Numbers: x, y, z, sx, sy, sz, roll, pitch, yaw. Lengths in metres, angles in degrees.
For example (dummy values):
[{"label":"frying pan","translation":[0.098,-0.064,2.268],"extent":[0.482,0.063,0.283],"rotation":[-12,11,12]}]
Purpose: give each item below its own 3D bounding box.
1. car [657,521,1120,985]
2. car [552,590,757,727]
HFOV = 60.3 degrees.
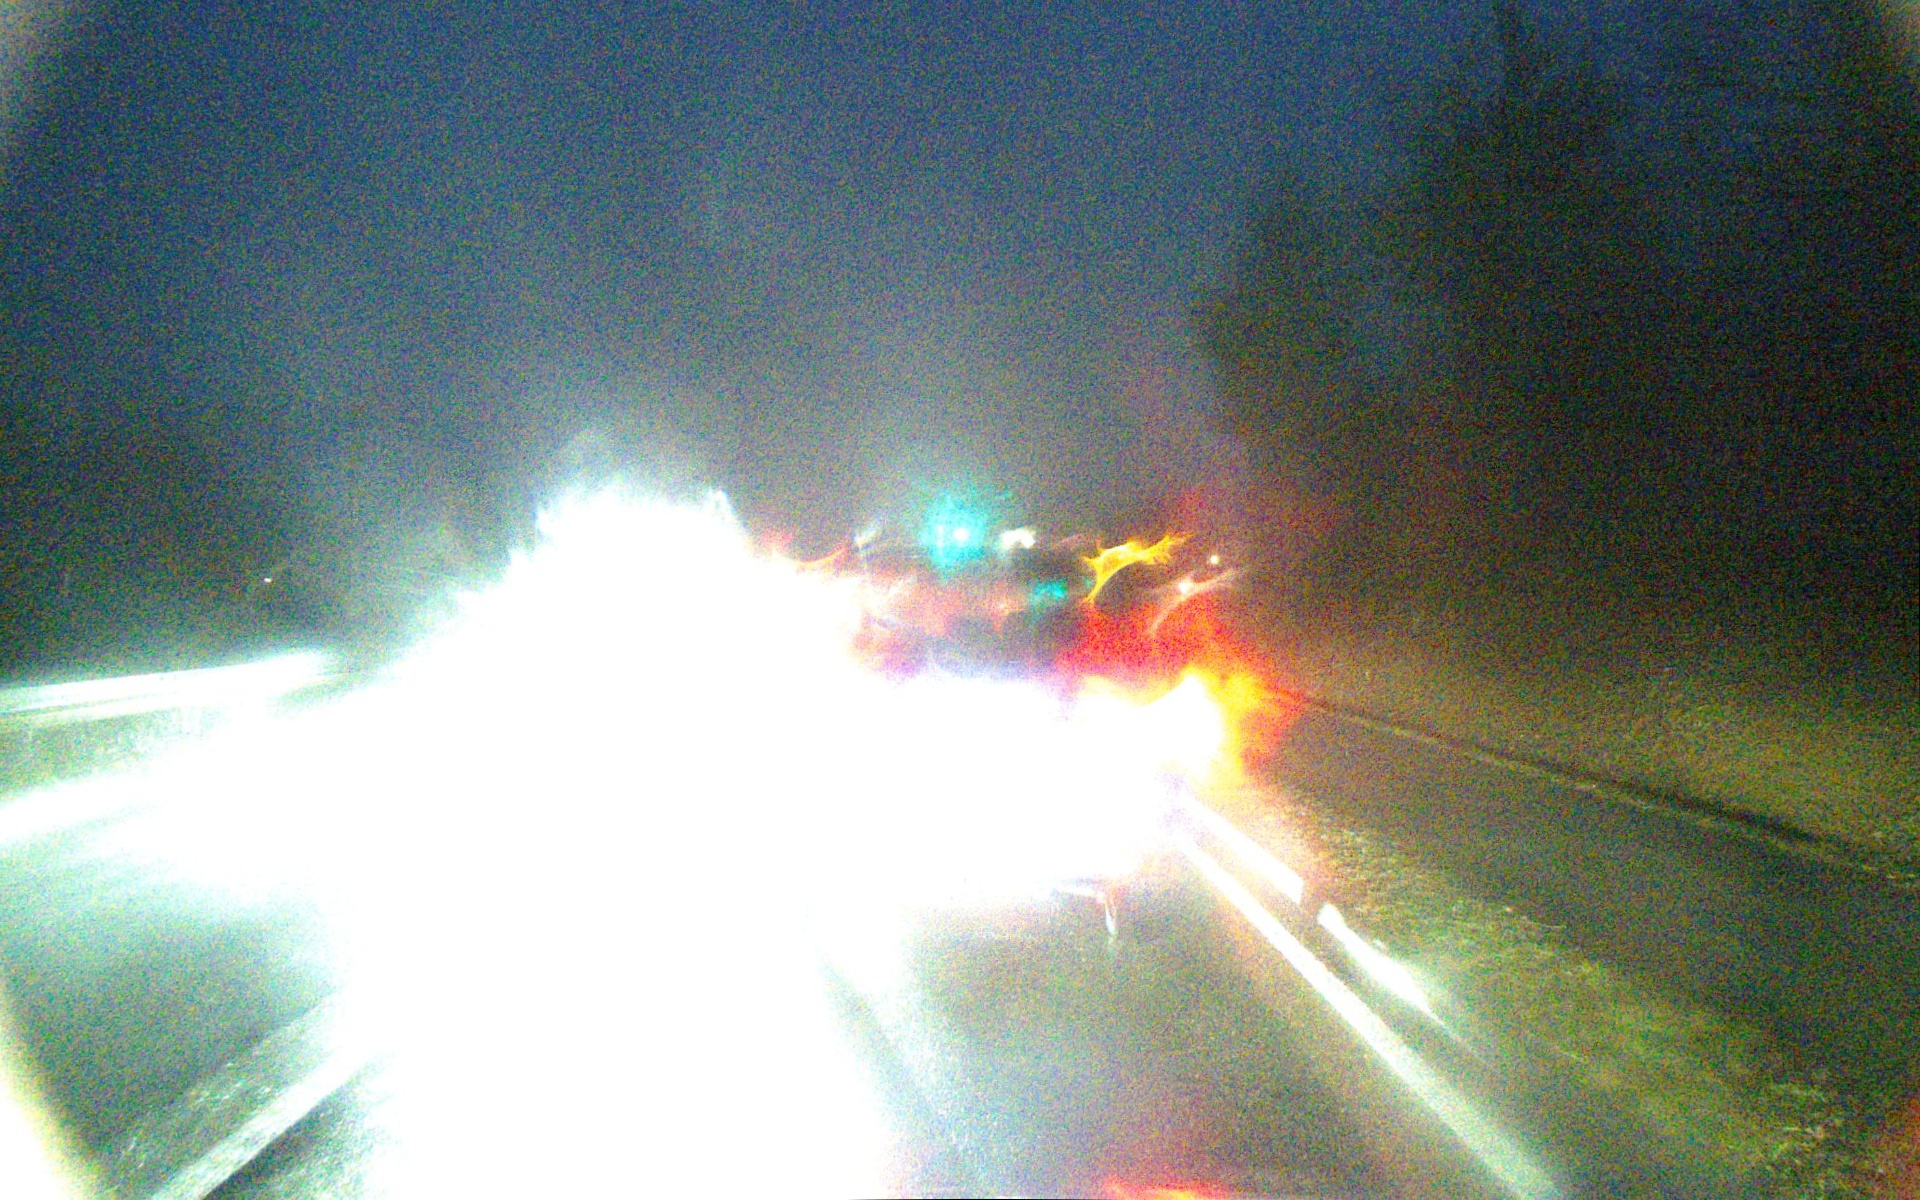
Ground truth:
[{"label":"car","translation":[-0.278,0.597,8.294],"extent":[1.739,1.742,3.999],"rotation":[1,0,0]},{"label":"car","translation":[-3.750,0.664,21.039],"extent":[1.865,1.495,4.273],"rotation":[2,0,-2]}]
